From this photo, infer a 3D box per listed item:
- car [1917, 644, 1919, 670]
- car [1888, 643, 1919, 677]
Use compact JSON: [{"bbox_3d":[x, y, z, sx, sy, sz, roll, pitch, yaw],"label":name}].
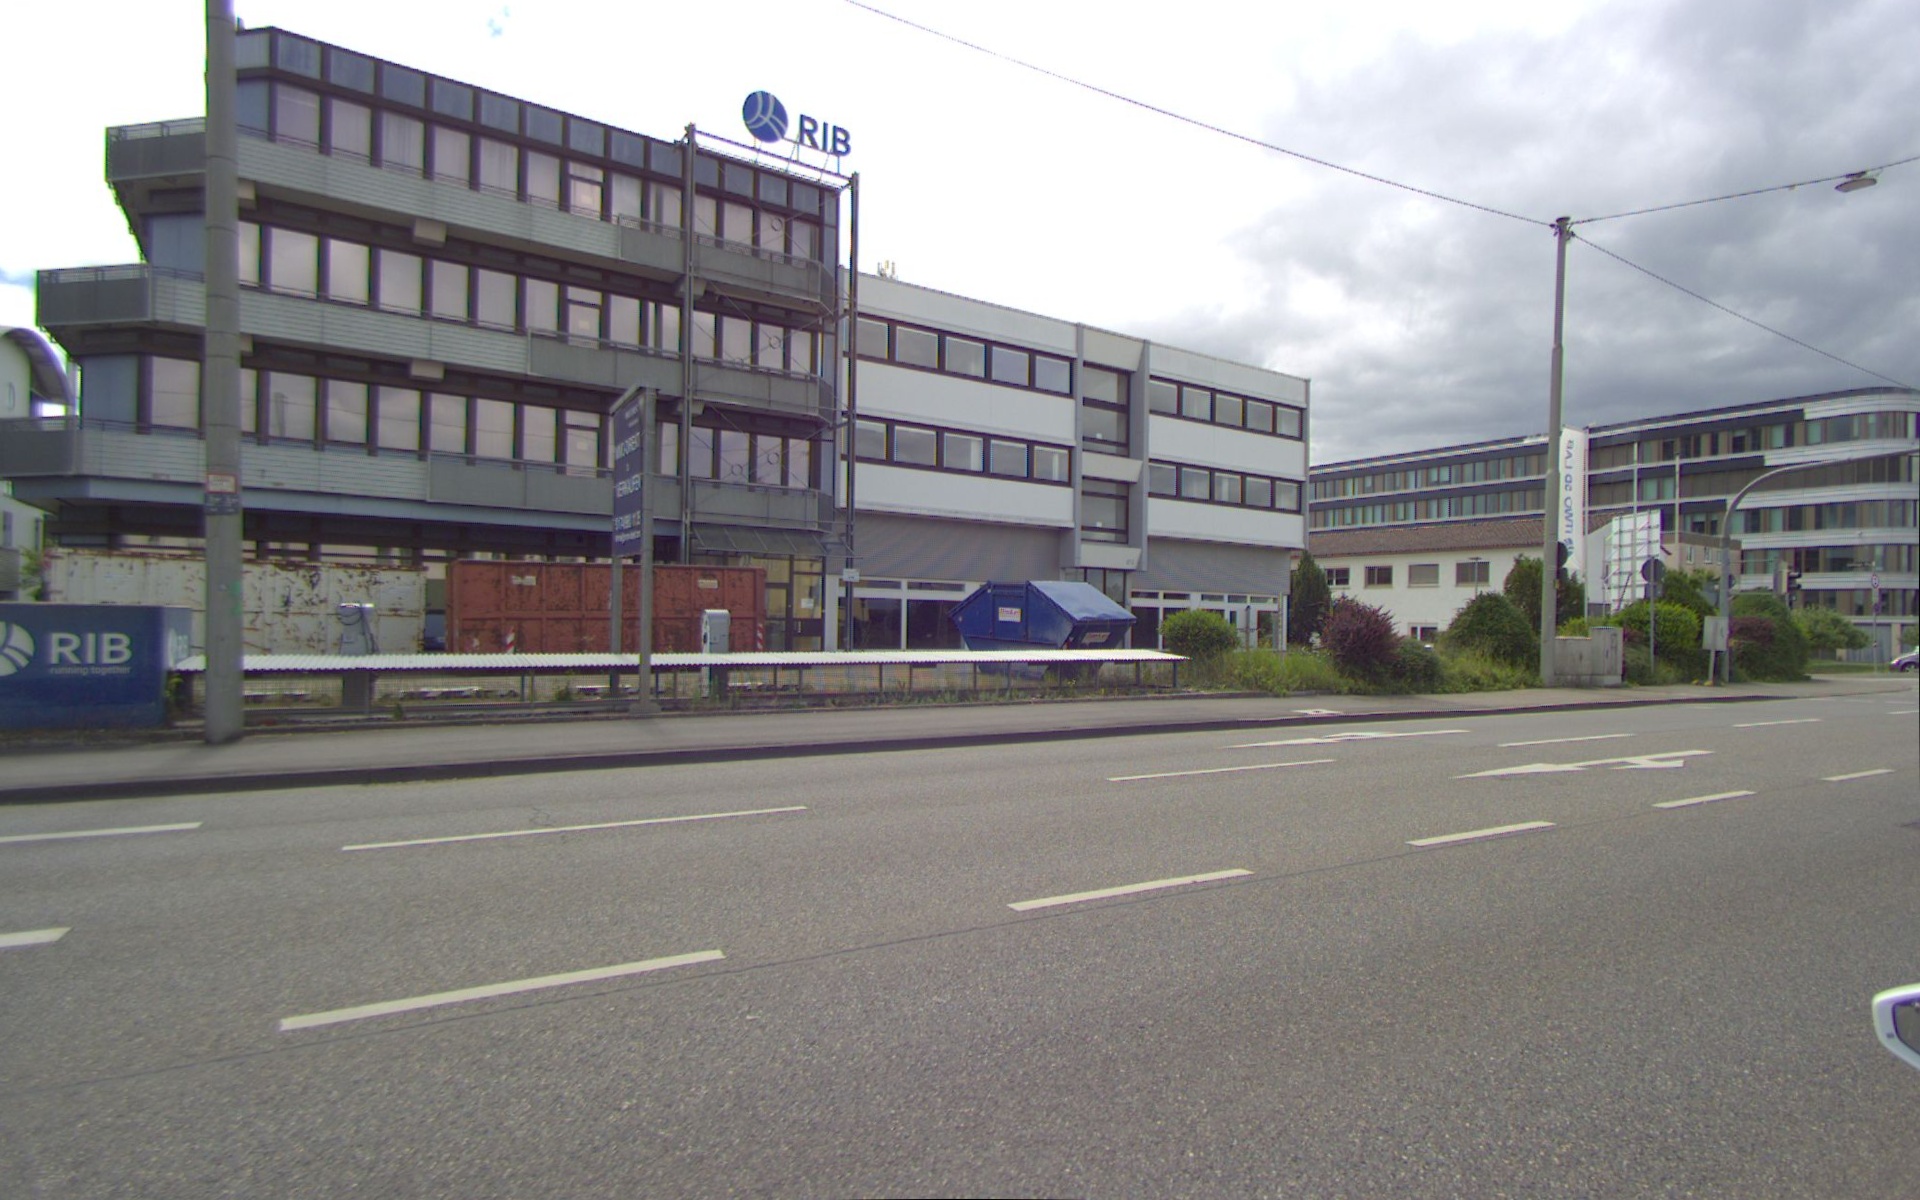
[{"bbox_3d":[47.385,2.613,46.433,1.965,1.404,4.198,3,-8,-35],"label":"car"},{"bbox_3d":[43.293,2.505,43.596,1.890,1.415,4.066,1,-7,-37],"label":"car"}]
